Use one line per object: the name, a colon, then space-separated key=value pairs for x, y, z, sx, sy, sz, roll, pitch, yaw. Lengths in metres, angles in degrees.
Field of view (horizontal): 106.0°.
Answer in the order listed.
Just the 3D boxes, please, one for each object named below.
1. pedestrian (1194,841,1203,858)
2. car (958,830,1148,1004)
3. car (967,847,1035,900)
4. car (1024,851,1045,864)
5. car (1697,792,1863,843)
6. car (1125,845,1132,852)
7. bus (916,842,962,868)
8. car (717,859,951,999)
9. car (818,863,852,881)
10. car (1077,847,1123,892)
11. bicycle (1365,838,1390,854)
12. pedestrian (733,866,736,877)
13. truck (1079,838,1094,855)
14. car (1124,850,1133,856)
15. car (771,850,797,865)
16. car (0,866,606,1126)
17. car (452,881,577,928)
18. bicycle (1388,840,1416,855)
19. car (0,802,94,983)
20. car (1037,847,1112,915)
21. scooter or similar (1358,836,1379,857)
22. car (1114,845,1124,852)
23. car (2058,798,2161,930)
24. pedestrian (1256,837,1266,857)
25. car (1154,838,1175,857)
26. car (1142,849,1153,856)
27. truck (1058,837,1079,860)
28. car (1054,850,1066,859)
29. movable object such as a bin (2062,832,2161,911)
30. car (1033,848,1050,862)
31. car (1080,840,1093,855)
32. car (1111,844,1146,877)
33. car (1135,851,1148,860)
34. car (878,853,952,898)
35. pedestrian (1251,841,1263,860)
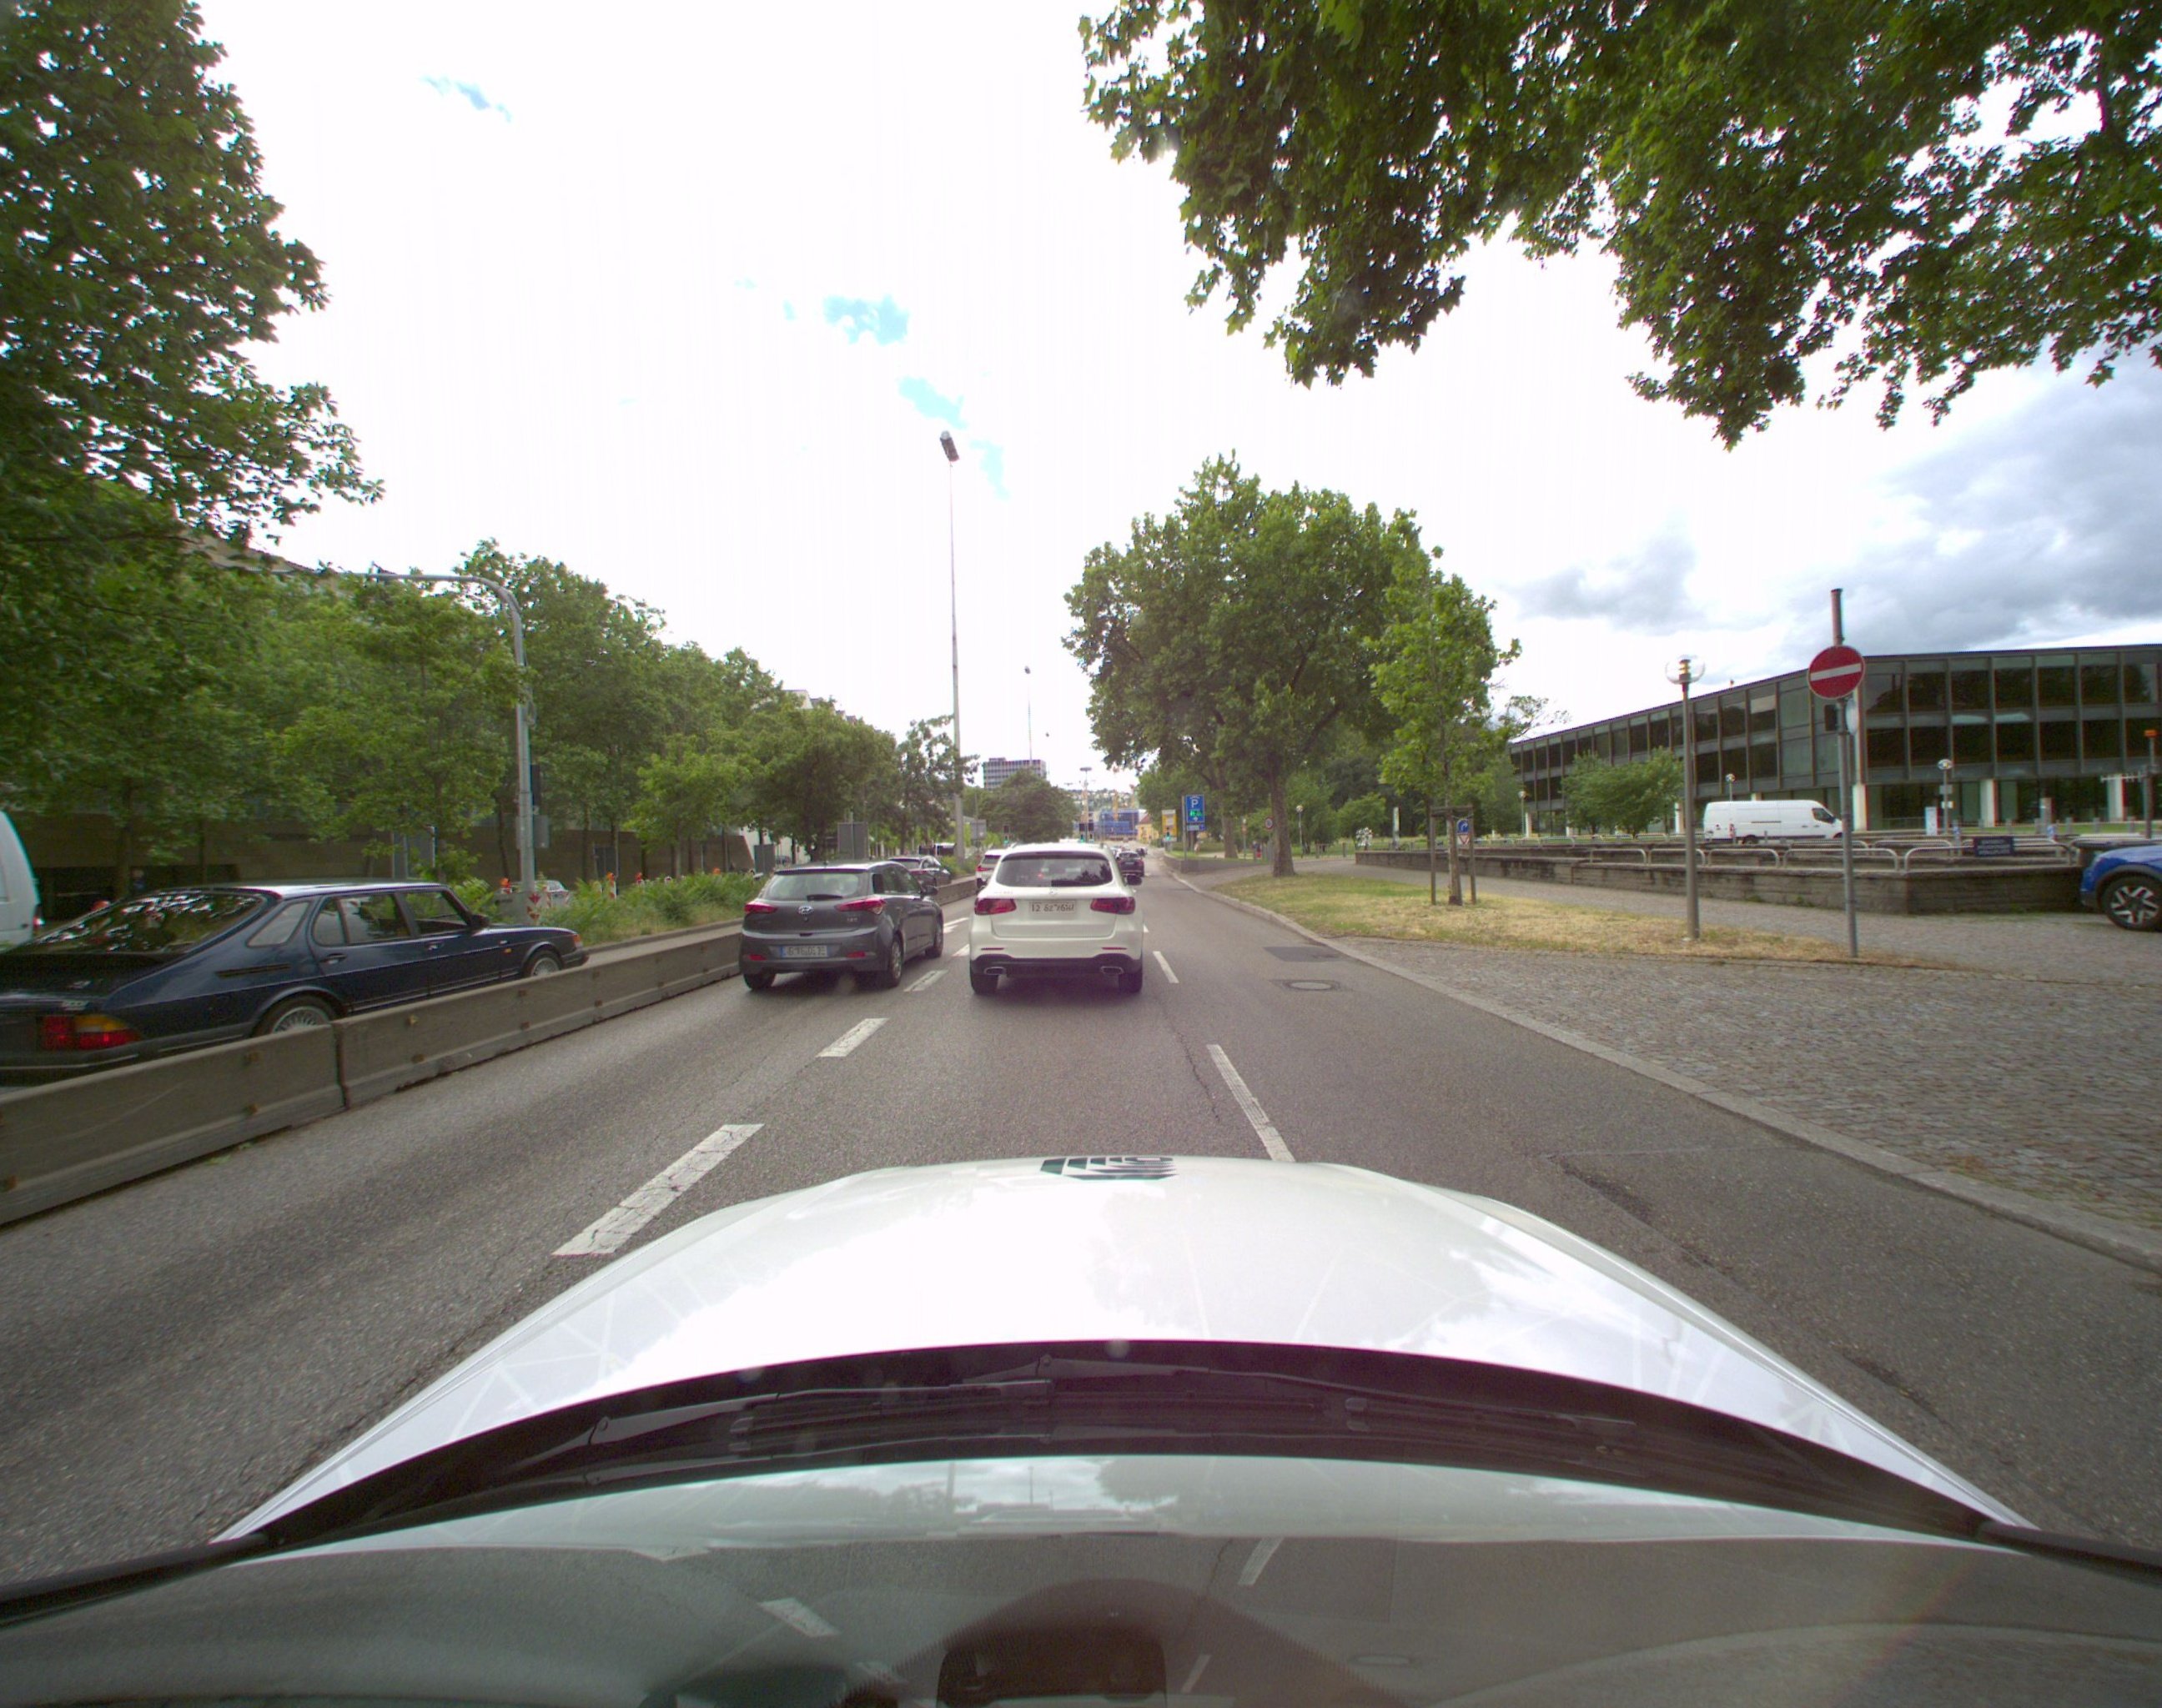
pedestrian: x=14.066 y=-0.555 z=97.654 sx=0.752 sy=2.013 sz=0.703 roll=-2 pitch=0 yaw=37
car: x=-0.174 y=0.604 z=10.075 sx=1.781 sy=1.625 sz=4.440 roll=-2 pitch=0 yaw=2
car: x=-2.645 y=0.621 z=28.043 sx=1.845 sy=1.628 sz=4.905 roll=-1 pitch=0 yaw=0
car: x=-4.751 y=0.348 z=83.255 sx=1.651 sy=1.319 sz=3.552 roll=-1 pitch=0 yaw=4
car: x=34.753 y=-1.793 z=40.631 sx=6.082 sy=2.260 sz=2.403 roll=-2 pitch=0 yaw=3
car: x=12.735 y=-1.529 z=218.083 sx=1.752 sy=1.669 sz=4.170 roll=-2 pitch=0 yaw=2
bus: x=-18.909 y=0.109 z=109.555 sx=3.656 sy=3.205 sz=14.271 roll=-2 pitch=0 yaw=0
car: x=-2.937 y=0.802 z=10.625 sx=1.792 sy=1.437 sz=4.020 roll=-1 pitch=0 yaw=0
car: x=-20.898 y=1.510 z=69.355 sx=1.654 sy=1.383 sz=3.804 roll=-2 pitch=0 yaw=1
car: x=0.695 y=0.583 z=32.345 sx=1.654 sy=1.639 sz=3.545 roll=-2 pitch=0 yaw=-1
bicycle: x=20.605 y=-0.571 z=56.639 sx=0.950 sy=1.063 sz=2.336 roll=0 pitch=0 yaw=1
pedestrian: x=-32.513 y=1.626 z=76.356 sx=0.214 sy=1.078 sz=0.257 roll=0 pitch=-1 yaw=-16
truck: x=1.015 y=-1.274 z=149.333 sx=2.683 sy=2.992 sz=5.638 roll=0 pitch=0 yaw=1
car: x=10.770 y=-0.320 z=184.908 sx=1.939 sy=1.319 sz=4.019 roll=-1 pitch=0 yaw=2
car: x=-40.080 y=0.500 z=109.974 sx=1.986 sy=1.914 sz=4.001 roll=-2 pitch=0 yaw=1
car: x=-6.253 y=0.857 z=6.899 sx=1.672 sy=1.367 sz=4.544 roll=-2 pitch=0 yaw=1
car: x=-21.440 y=1.871 z=31.025 sx=1.842 sy=1.458 sz=4.001 roll=-2 pitch=0 yaw=1
bicycle: x=22.405 y=-0.437 z=56.925 sx=0.950 sy=0.975 sz=2.787 roll=0 pitch=0 yaw=1
car: x=-12.923 y=0.466 z=6.921 sx=2.108 sy=1.969 sz=5.580 roll=-2 pitch=0 yaw=1
car: x=-0.261 y=0.661 z=21.573 sx=1.792 sy=1.608 sz=3.750 roll=-1 pitch=0 yaw=-3
scooter or similar: x=17.824 y=-0.440 z=50.564 sx=0.633 sy=1.245 sz=2.227 roll=0 pitch=0 yaw=4
car: x=6.973 y=-0.986 z=149.610 sx=1.939 sy=1.319 sz=4.019 roll=-1 pitch=0 yaw=2
car: x=13.699 y=0.138 z=8.740 sx=1.752 sy=1.551 sz=4.032 roll=-2 pitch=2 yaw=4
pedestrian: x=16.060 y=-0.624 z=72.562 sx=0.754 sy=1.724 sz=0.701 roll=-2 pitch=0 yaw=9
car: x=9.158 y=-0.685 z=89.391 sx=1.985 sy=2.013 sz=4.003 roll=-1 pitch=0 yaw=2
car: x=13.053 y=-0.217 z=160.185 sx=1.939 sy=1.319 sz=4.019 roll=-1 pitch=0 yaw=2
truck: x=-1.570 y=-0.724 z=105.743 sx=2.612 sy=2.861 sz=7.079 roll=0 pitch=0 yaw=1
car: x=-3.403 y=0.074 z=131.095 sx=1.652 sy=1.319 sz=3.550 roll=-1 pitch=0 yaw=3
movable object such as a bin: x=15.182 y=0.237 z=11.803 sx=1.004 sy=1.064 sz=0.770 roll=-2 pitch=3 yaw=-1
car: x=-4.528 y=0.060 z=93.685 sx=1.653 sy=1.513 sz=3.549 roll=-2 pitch=0 yaw=2
car: x=0.976 y=-1.111 z=142.646 sx=1.984 sy=2.475 sz=4.006 roll=-2 pitch=0 yaw=5
car: x=2.703 y=0.358 z=46.844 sx=1.819 sy=1.752 sz=4.001 roll=-2 pitch=0 yaw=1
car: x=9.783 y=0.268 z=131.719 sx=1.939 sy=1.428 sz=4.019 roll=-1 pitch=0 yaw=2
car: x=-5.656 y=0.706 z=28.180 sx=1.655 sy=1.436 sz=3.961 roll=-1 pitch=0 yaw=1
pedestrian: x=14.824 y=-0.288 z=68.548 sx=0.662 sy=1.610 sz=0.637 roll=-2 pitch=0 yaw=-17
